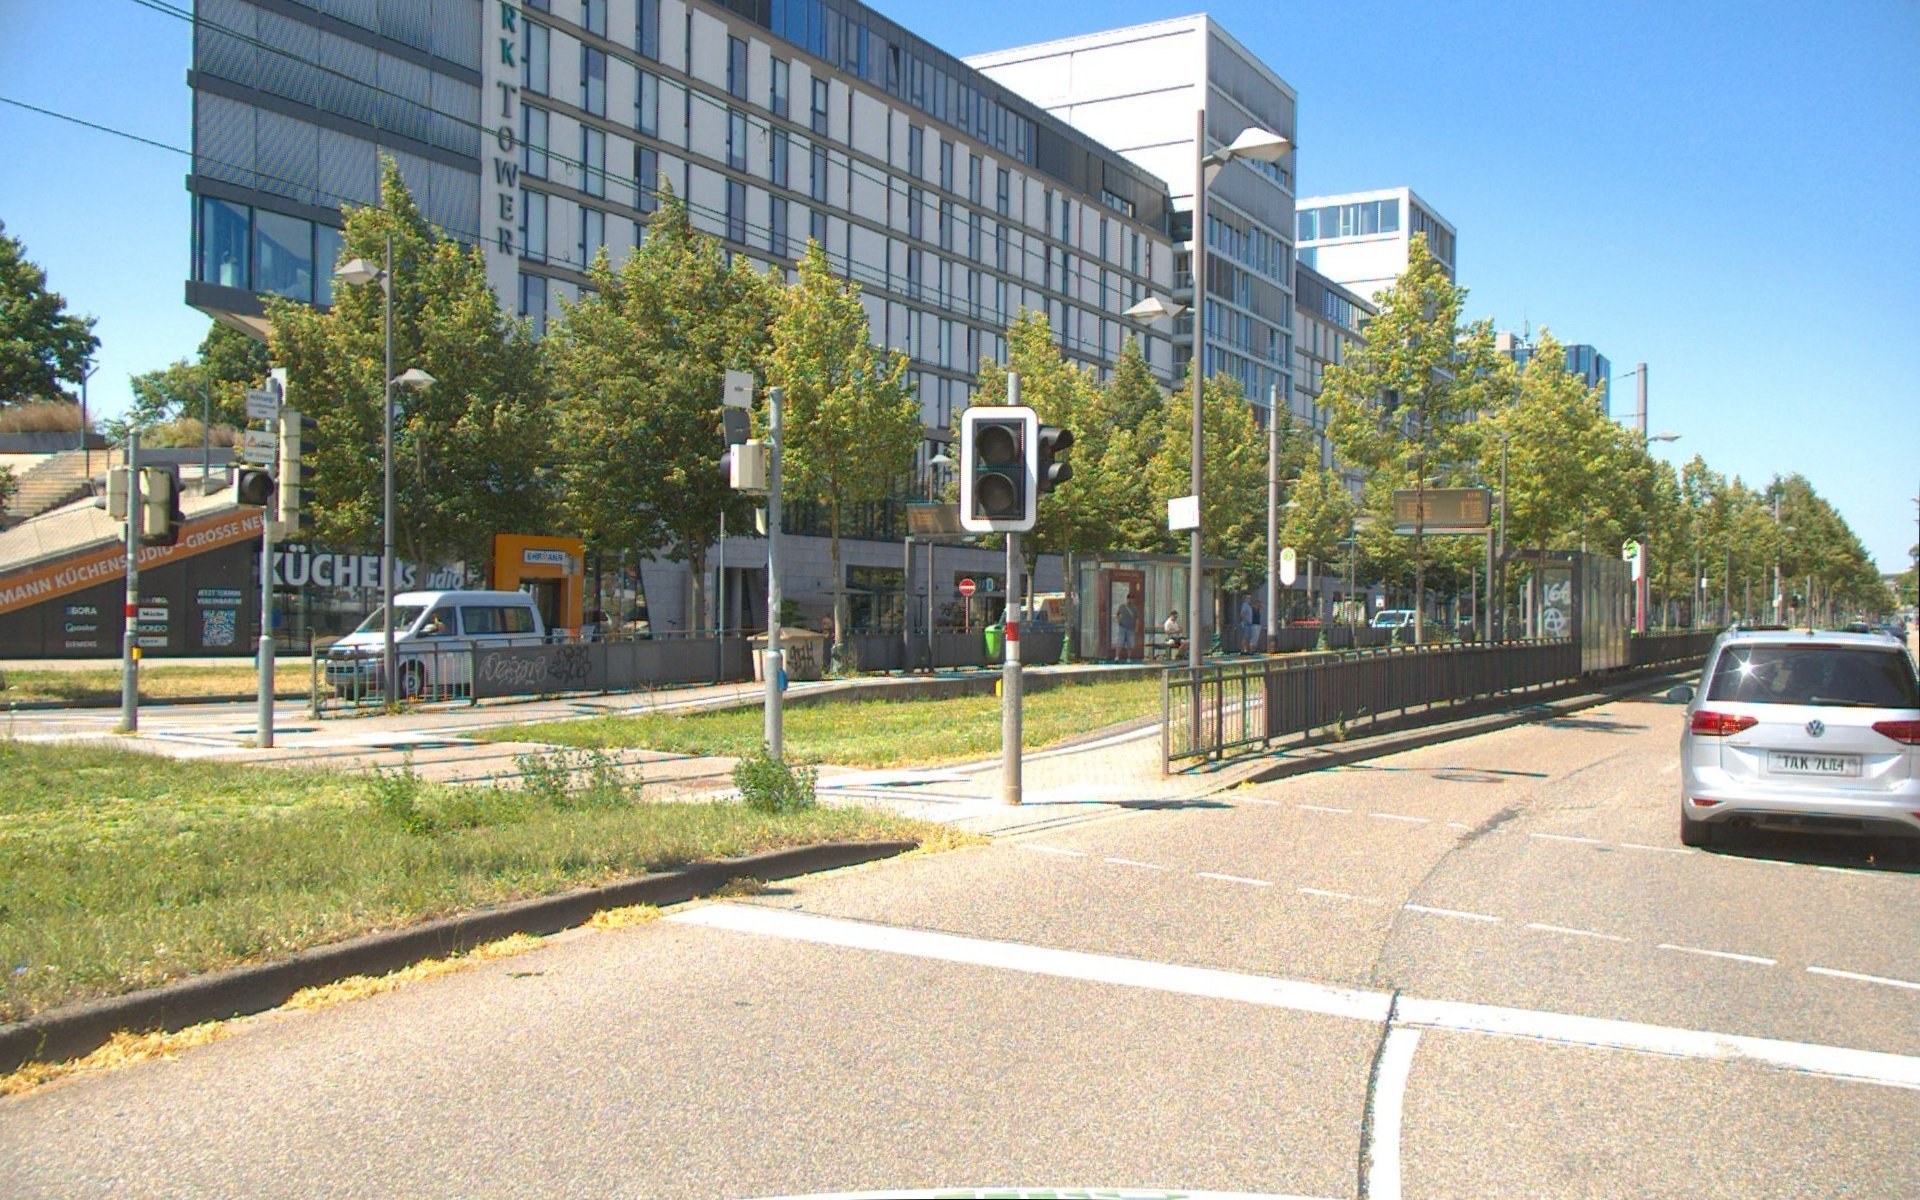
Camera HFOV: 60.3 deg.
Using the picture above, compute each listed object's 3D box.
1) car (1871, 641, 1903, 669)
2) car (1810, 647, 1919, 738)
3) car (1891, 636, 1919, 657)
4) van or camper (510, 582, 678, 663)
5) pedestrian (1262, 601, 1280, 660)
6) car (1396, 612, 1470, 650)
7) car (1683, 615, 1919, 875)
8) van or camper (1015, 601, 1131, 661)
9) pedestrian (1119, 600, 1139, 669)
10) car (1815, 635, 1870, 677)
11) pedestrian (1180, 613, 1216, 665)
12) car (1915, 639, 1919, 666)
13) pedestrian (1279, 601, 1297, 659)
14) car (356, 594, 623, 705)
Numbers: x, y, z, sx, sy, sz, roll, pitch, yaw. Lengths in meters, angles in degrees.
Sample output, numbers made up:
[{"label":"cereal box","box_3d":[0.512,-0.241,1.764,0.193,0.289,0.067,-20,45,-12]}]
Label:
[{"label":"car","box_3d":[58.086,3.435,103.639,1.733,1.655,3.708,0,-1,30]},{"label":"car","box_3d":[16.890,1.642,30.588,1.818,1.462,4.944,0,-1,30]},{"label":"car","box_3d":[69.197,3.423,120.871,1.826,1.490,3.995,-1,-2,27]},{"label":"van or camper","box_3d":[-13.754,0.867,62.731,2.330,2.872,6.776,0,-1,28]},{"label":"pedestrian","box_3d":[9.539,0.928,50.731,0.401,1.782,0.585,0,-1,28]},{"label":"car","box_3d":[24.399,1.595,85.160,2.417,1.837,5.058,0,-1,31]},{"label":"car","box_3d":[6.845,1.037,13.387,1.764,1.677,4.602,2,-1,24]},{"label":"van or camper","box_3d":[4.896,1.316,70.615,2.137,2.428,6.757,0,-1,31]},{"label":"pedestrian","box_3d":[4.330,0.884,42.358,0.455,1.769,0.478,1,-1,2]},{"label":"car","box_3d":[32.741,2.066,61.323,1.589,1.477,3.976,0,-2,31]},{"label":"pedestrian","box_3d":[6.743,1.091,46.773,0.819,1.438,0.641,0,-1,31]},{"label":"car","box_3d":[59.927,3.250,101.987,1.733,1.655,3.708,0,-1,30]},{"label":"pedestrian","box_3d":[10.156,0.926,51.213,0.401,1.782,0.585,0,-1,28]},{"label":"car","box_3d":[-9.803,1.011,34.982,1.957,2.143,5.528,0,-1,32]}]
